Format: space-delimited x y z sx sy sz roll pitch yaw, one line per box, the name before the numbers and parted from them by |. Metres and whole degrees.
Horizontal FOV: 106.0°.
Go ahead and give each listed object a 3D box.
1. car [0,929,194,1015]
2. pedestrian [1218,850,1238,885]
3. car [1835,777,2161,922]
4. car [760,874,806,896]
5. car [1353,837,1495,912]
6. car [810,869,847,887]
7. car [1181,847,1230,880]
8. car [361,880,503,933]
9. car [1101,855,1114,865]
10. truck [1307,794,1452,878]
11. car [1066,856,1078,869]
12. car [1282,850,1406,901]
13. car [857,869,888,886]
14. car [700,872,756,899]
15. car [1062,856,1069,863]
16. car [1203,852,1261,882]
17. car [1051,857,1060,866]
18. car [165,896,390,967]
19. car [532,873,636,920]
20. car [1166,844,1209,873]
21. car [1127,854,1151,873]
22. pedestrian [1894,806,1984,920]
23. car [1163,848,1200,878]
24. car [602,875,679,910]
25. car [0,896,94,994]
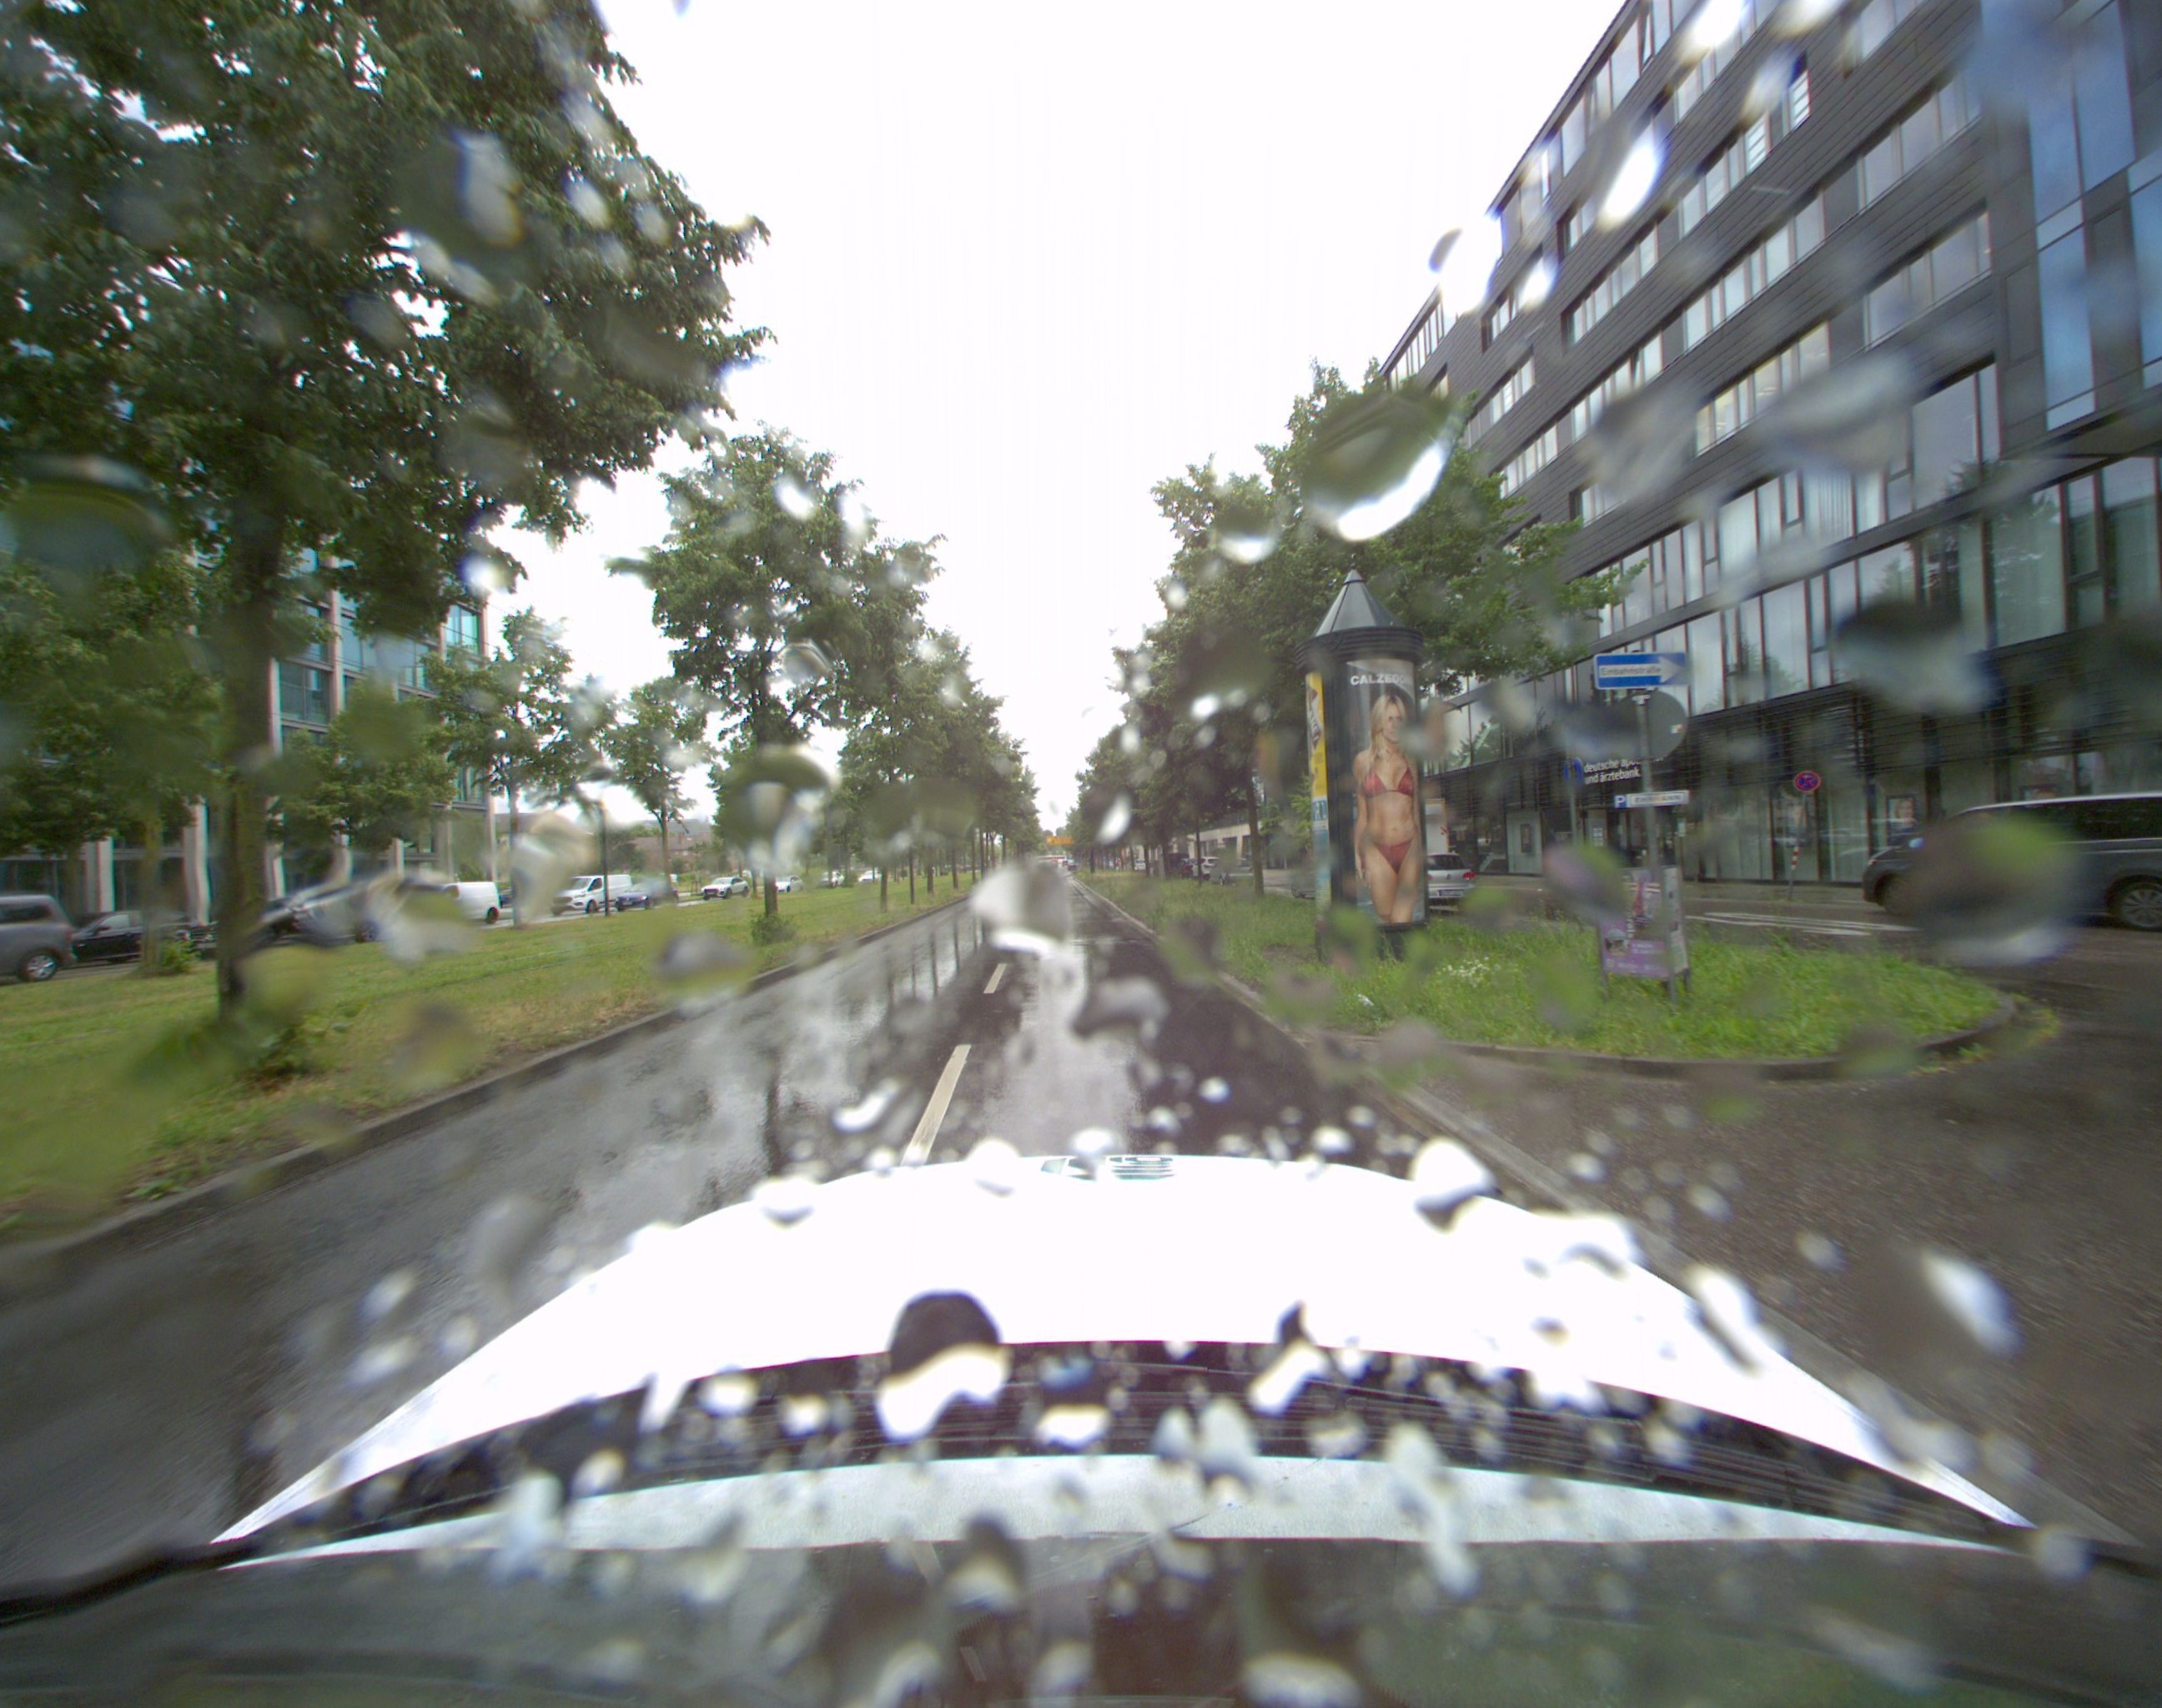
car | -25.854 2.938 20.606 1.855 1.446 4.619 -2 2 -4
pedestrian | 6.398 0.572 35.489 0.696 1.493 0.643 -2 -1 -5
car | 15.100 -0.082 12.521 1.990 1.920 5.141 -2 0 -4
car | -23.013 2.391 63.123 1.946 1.513 4.572 -2 0 -2
car | 8.499 0.417 20.589 1.756 1.596 4.098 -2 2 -2
car | -21.940 2.077 70.976 1.946 1.452 4.572 -2 0 -2
car | 7.251 0.507 47.903 1.988 1.669 4.721 -2 2 -2
car | -26.400 2.070 33.400 1.947 1.651 5.023 -2 2 -4
car | 4.243 0.957 131.573 1.876 1.505 4.721 -2 2 -2
truck | 13.691 -0.724 38.400 3.019 3.441 8.533 -2 0 -5
car | -1.498 1.396 140.502 1.935 2.013 3.998 -2 2 -2
car | 8.453 0.655 26.752 1.990 1.444 5.228 -2 0 -5
car | -22.381 2.516 87.721 1.943 1.460 4.834 -2 2 2
car | -25.654 2.263 59.421 1.944 1.749 4.576 -2 0 1
car | -4.650 1.725 247.882 1.987 2.013 4.001 -2 2 0
car | 7.717 0.623 42.131 1.766 1.452 4.716 -1 0 -4
car | -6.322 1.898 198.924 1.987 2.013 4.001 -2 2 0
car | -22.776 2.131 23.413 1.946 1.385 4.600 -2 2 -3
car | -26.611 2.203 43.901 2.261 2.006 5.371 -2 2 -1
car | 7.014 0.241 54.156 1.988 1.669 4.955 -2 2 -2
car | 6.101 0.984 85.453 1.988 1.669 4.721 -2 2 -2
pedestrian | 13.698 0.127 13.018 0.579 1.739 0.802 -2 2 -5
car | 7.469 0.599 61.106 1.988 1.952 5.026 -2 2 -2
car | -23.451 1.998 43.550 1.945 1.494 3.960 -2 2 -2
car | -22.502 1.915 15.474 1.946 1.848 4.539 -2 1 -3
